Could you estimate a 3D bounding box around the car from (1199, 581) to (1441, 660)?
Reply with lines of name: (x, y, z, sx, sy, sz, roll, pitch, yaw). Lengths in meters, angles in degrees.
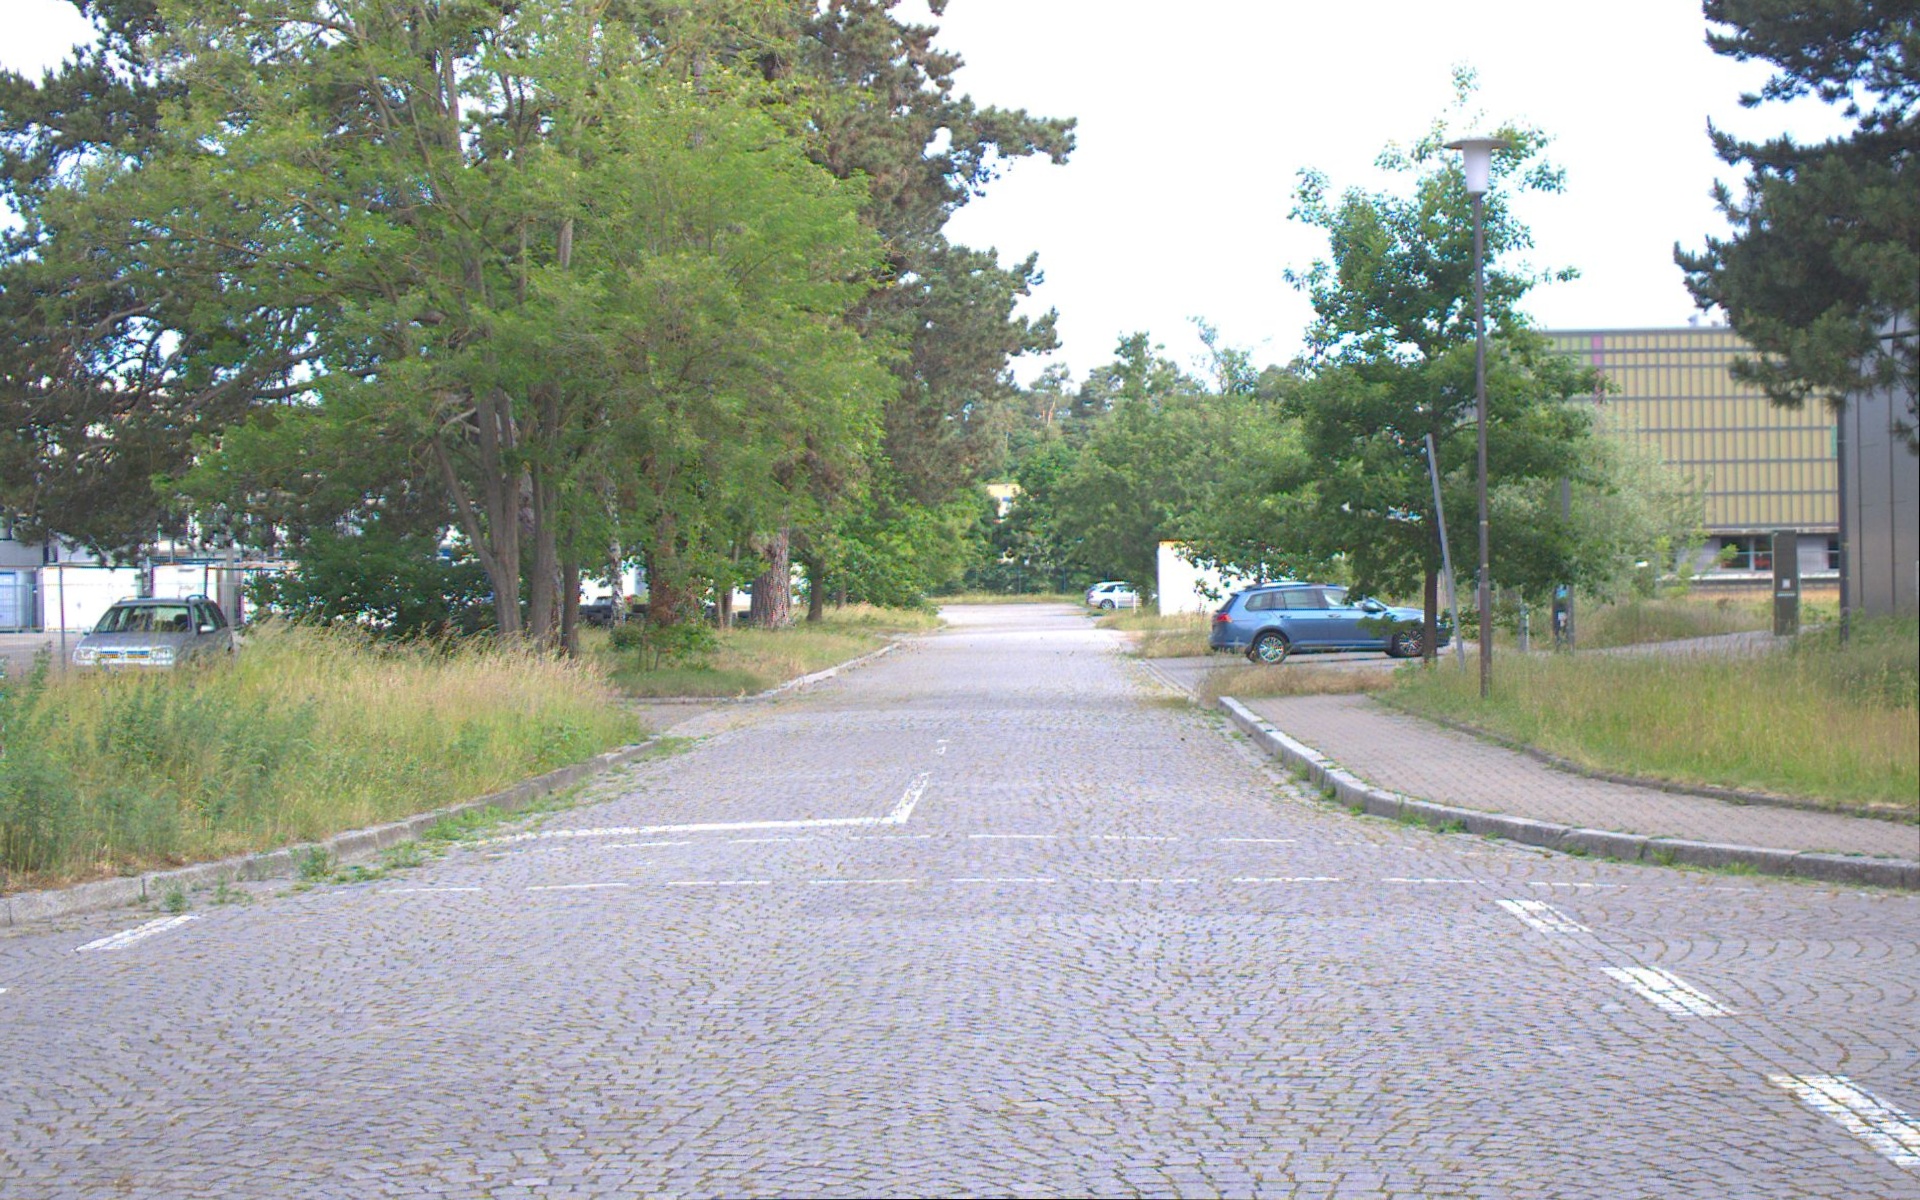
car: (6.811, 0.382, 65.357, 4.344, 1.417, 2.000, -1, 0, 0)

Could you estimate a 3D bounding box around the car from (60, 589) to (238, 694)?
car: (-11.986, 0.587, 51.024, 1.613, 1.482, 4.000, -1, 0, 1)

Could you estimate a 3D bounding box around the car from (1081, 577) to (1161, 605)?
car: (8.525, -0.477, 182.431, 3.986, 1.393, 2.000, -1, 0, -4)
